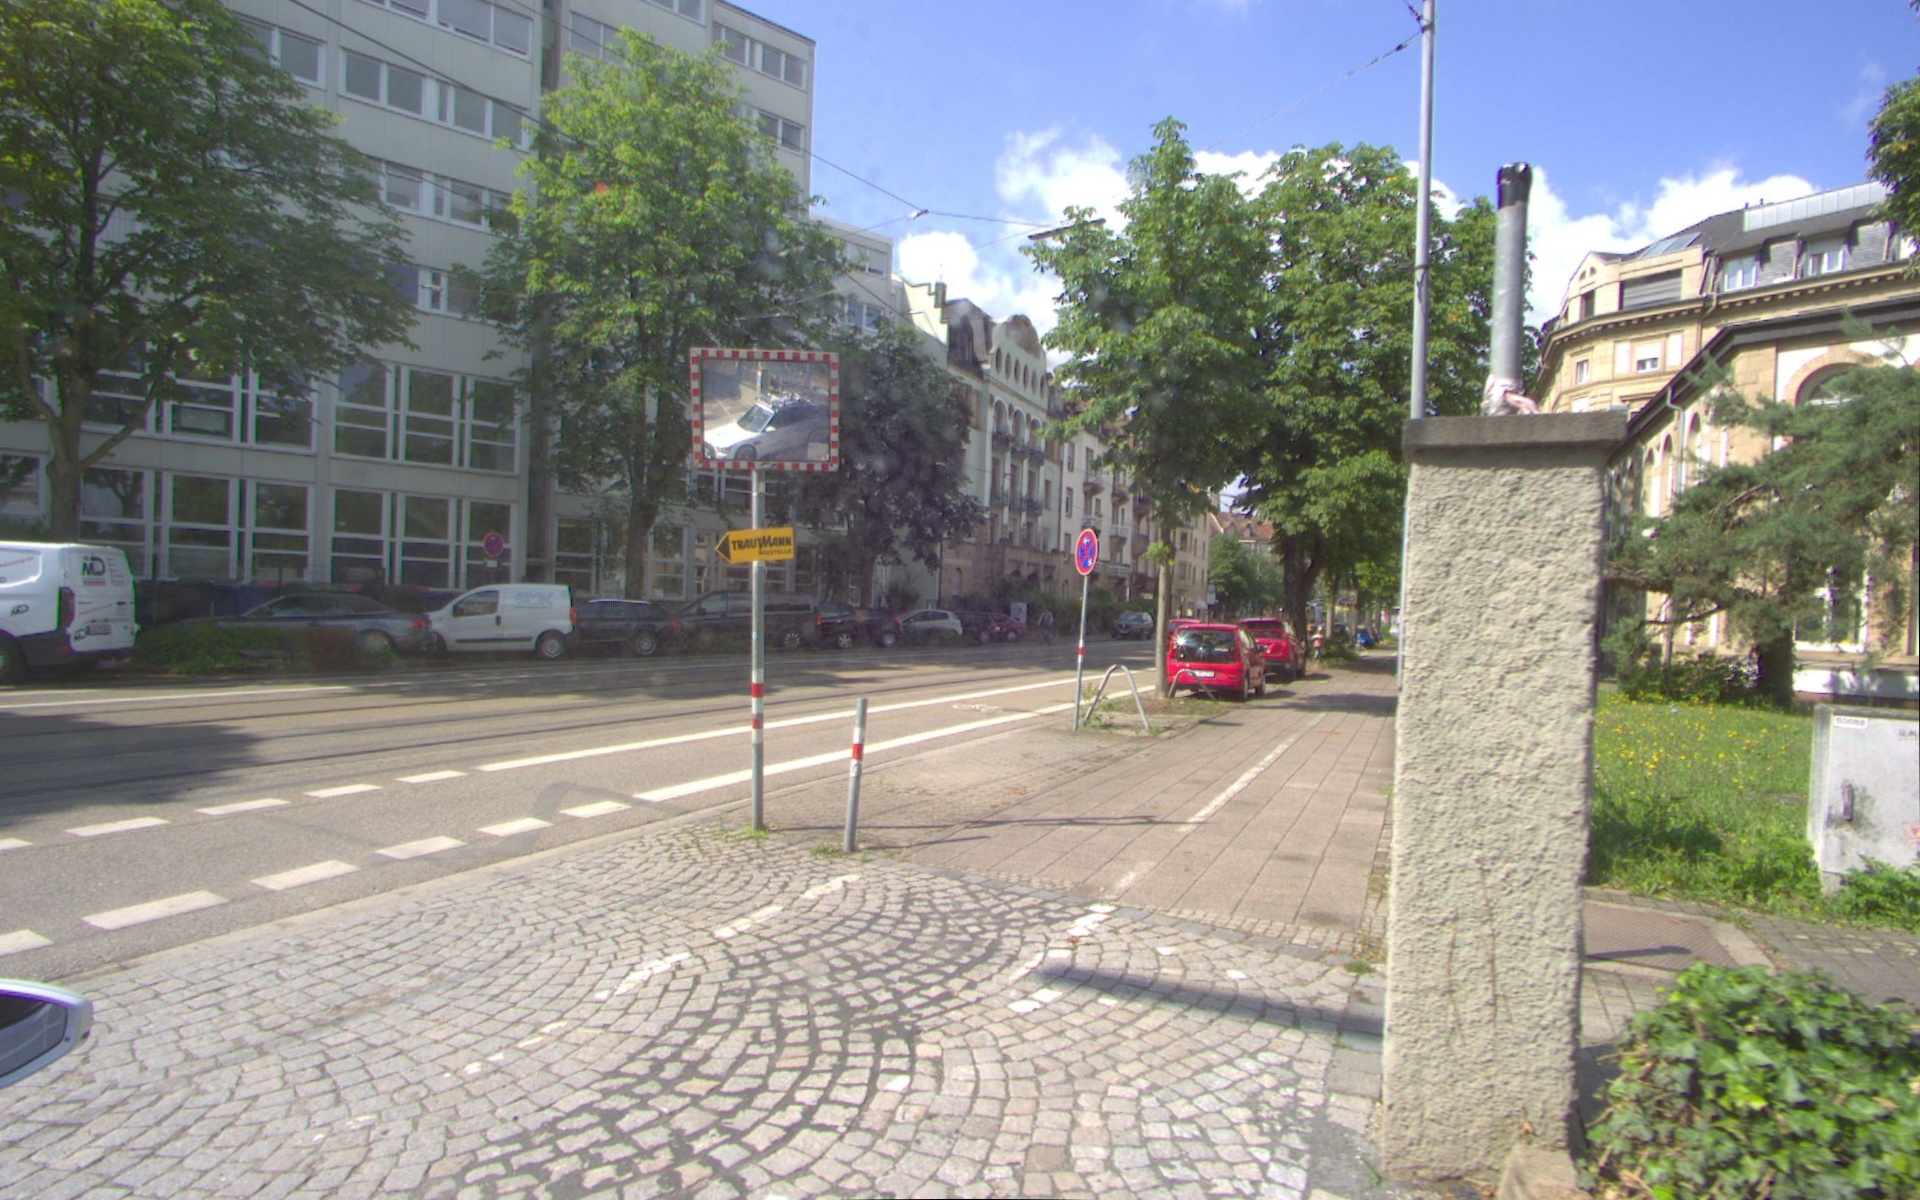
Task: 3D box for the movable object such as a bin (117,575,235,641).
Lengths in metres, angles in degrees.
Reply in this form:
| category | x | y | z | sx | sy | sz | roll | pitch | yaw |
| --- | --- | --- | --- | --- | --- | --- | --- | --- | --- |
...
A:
| category | x | y | z | sx | sy | sz | roll | pitch | yaw |
| --- | --- | --- | --- | --- | --- | --- | --- | --- | --- |
| movable object such as a bin | -17.092 | 0.208 | 21.864 | 1.367 | 1.381 | 1.536 | -1 | -2 | 21 |

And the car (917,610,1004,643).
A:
| category | x | y | z | sx | sy | sz | roll | pitch | yaw |
| --- | --- | --- | --- | --- | --- | --- | --- | --- | --- |
| car | 0.008 | 1.231 | 46.451 | 3.738 | 1.503 | 1.696 | 1 | -1 | -14 |

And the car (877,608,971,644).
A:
| category | x | y | z | sx | sy | sz | roll | pitch | yaw |
| --- | --- | --- | --- | --- | --- | --- | --- | --- | --- |
| car | -1.570 | 1.127 | 43.518 | 3.743 | 1.503 | 1.694 | 1 | -1 | -20 |

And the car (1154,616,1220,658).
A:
| category | x | y | z | sx | sy | sz | roll | pitch | yaw |
| --- | --- | --- | --- | --- | --- | --- | --- | --- | --- |
| car | 9.283 | 1.464 | 40.751 | 1.760 | 1.512 | 4.871 | 2 | 0 | 23 |

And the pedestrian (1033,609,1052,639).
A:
| category | x | y | z | sx | sy | sz | roll | pitch | yaw |
| --- | --- | --- | --- | --- | --- | --- | --- | --- | --- |
| pedestrian | 4.483 | 1.295 | 54.380 | 0.671 | 1.589 | 0.879 | 5 | 1 | 27 |

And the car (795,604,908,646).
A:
| category | x | y | z | sx | sy | sz | roll | pitch | yaw |
| --- | --- | --- | --- | --- | --- | --- | --- | --- | --- |
| car | -4.060 | 0.947 | 37.269 | 3.930 | 1.503 | 1.738 | 1 | -1 | -17 |

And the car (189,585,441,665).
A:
| category | x | y | z | sx | sy | sz | roll | pitch | yaw |
| --- | --- | --- | --- | --- | --- | --- | --- | --- | --- |
| car | -12.424 | 0.495 | 19.609 | 3.939 | 1.436 | 1.715 | 1 | -1 | -26 |

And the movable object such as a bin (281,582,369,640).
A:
| category | x | y | z | sx | sy | sz | roll | pitch | yaw |
| --- | --- | --- | --- | --- | --- | --- | --- | --- | --- |
| movable object such as a bin | -15.784 | 0.303 | 24.906 | 1.176 | 1.398 | 1.438 | -1 | -2 | 22 |

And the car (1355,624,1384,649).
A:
| category | x | y | z | sx | sy | sz | roll | pitch | yaw |
| --- | --- | --- | --- | --- | --- | --- | --- | --- | --- |
| car | 26.491 | 2.344 | 64.686 | 1.617 | 1.515 | 3.617 | 1 | -1 | 24 |

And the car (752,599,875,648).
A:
| category | x | y | z | sx | sy | sz | roll | pitch | yaw |
| --- | --- | --- | --- | --- | --- | --- | --- | --- | --- |
| car | -5.057 | 0.834 | 34.452 | 3.931 | 1.613 | 1.737 | 1 | -1 | -19 |

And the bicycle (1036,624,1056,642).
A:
| category | x | y | z | sx | sy | sz | roll | pitch | yaw |
| --- | --- | --- | --- | --- | --- | --- | --- | --- | --- |
| bicycle | 4.876 | 1.838 | 56.680 | 0.378 | 0.972 | 1.803 | 4 | 1 | 27 |

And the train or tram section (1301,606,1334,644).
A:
| category | x | y | z | sx | sy | sz | roll | pitch | yaw |
| --- | --- | --- | --- | --- | --- | --- | --- | --- | --- |
| train or tram section | 36.303 | 2.556 | 101.527 | 2.615 | 3.573 | 8.478 | 2 | -1 | 22 |

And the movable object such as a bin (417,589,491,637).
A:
| category | x | y | z | sx | sy | sz | roll | pitch | yaw |
| --- | --- | --- | --- | --- | --- | --- | --- | --- | --- |
| movable object such as a bin | -14.083 | 0.392 | 27.908 | 1.152 | 1.299 | 1.438 | -1 | -2 | 24 |

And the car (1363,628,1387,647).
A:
| category | x | y | z | sx | sy | sz | roll | pitch | yaw |
| --- | --- | --- | --- | --- | --- | --- | --- | --- | --- |
| car | 33.555 | 3.008 | 80.978 | 1.602 | 1.515 | 3.836 | 0 | -1 | 25 |

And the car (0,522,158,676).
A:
| category | x | y | z | sx | sy | sz | roll | pitch | yaw |
| --- | --- | --- | --- | --- | --- | --- | --- | --- | --- |
| car | -14.332 | -0.078 | 13.834 | 4.604 | 2.023 | 1.965 | 2 | 0 | -16 |

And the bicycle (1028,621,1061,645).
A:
| category | x | y | z | sx | sy | sz | roll | pitch | yaw |
| --- | --- | --- | --- | --- | --- | --- | --- | --- | --- |
| bicycle | 3.968 | 1.553 | 46.783 | 0.648 | 1.054 | 1.991 | 2 | -1 | 33 |

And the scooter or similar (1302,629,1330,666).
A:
| category | x | y | z | sx | sy | sz | roll | pitch | yaw |
| --- | --- | --- | --- | --- | --- | --- | --- | --- | --- |
| scooter or similar | 12.375 | 1.638 | 34.769 | 1.246 | 1.253 | 0.339 | 1 | -2 | -41 |

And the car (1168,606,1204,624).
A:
| category | x | y | z | sx | sy | sz | roll | pitch | yaw |
| --- | --- | --- | --- | --- | --- | --- | --- | --- | --- |
| car | 22.949 | 1.550 | 101.589 | 3.196 | 1.533 | 1.672 | 4 | 0 | 29 |

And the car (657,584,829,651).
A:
| category | x | y | z | sx | sy | sz | roll | pitch | yaw |
| --- | --- | --- | --- | --- | --- | --- | --- | --- | --- |
| car | -6.824 | 0.583 | 31.485 | 5.081 | 1.979 | 1.912 | 1 | -1 | -21 |

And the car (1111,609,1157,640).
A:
| category | x | y | z | sx | sy | sz | roll | pitch | yaw |
| --- | --- | --- | --- | --- | --- | --- | --- | --- | --- |
| car | 10.946 | 1.537 | 62.664 | 1.760 | 1.786 | 4.871 | 2 | 0 | 23 |

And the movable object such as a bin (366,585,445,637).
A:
| category | x | y | z | sx | sy | sz | roll | pitch | yaw |
| --- | --- | --- | --- | --- | --- | --- | --- | --- | --- |
| movable object such as a bin | -14.684 | 0.318 | 26.569 | 1.148 | 1.344 | 1.438 | -1 | -2 | 24 |

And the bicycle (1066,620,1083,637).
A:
| category | x | y | z | sx | sy | sz | roll | pitch | yaw |
| --- | --- | --- | --- | --- | --- | --- | --- | --- | --- |
| bicycle | 6.974 | 1.718 | 60.792 | 0.378 | 0.972 | 1.803 | 4 | 1 | 27 |

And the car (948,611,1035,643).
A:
| category | x | y | z | sx | sy | sz | roll | pitch | yaw |
| --- | --- | --- | --- | --- | --- | --- | --- | --- | --- |
| car | 1.553 | 1.325 | 49.236 | 3.901 | 1.503 | 1.843 | 1 | -1 | -18 |

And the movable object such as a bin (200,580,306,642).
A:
| category | x | y | z | sx | sy | sz | roll | pitch | yaw |
| --- | --- | --- | --- | --- | --- | --- | --- | --- | --- |
| movable object such as a bin | -16.498 | 0.285 | 23.410 | 1.367 | 1.381 | 1.536 | -1 | -2 | 21 |

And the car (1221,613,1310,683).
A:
| category | x | y | z | sx | sy | sz | roll | pitch | yaw |
| --- | --- | --- | --- | --- | --- | --- | --- | --- | --- |
| car | 8.294 | 1.245 | 26.953 | 1.850 | 1.698 | 4.271 | 1 | -1 | 23 |

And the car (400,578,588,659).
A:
| category | x | y | z | sx | sy | sz | roll | pitch | yaw |
| --- | --- | --- | --- | --- | --- | --- | --- | --- | --- |
| car | -10.443 | 0.446 | 22.713 | 3.651 | 1.715 | 1.757 | 1 | -1 | -18 |

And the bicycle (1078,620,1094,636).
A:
| category | x | y | z | sx | sy | sz | roll | pitch | yaw |
| --- | --- | --- | --- | --- | --- | --- | --- | --- | --- |
| bicycle | 7.876 | 1.753 | 62.672 | 0.378 | 0.972 | 1.803 | 4 | 1 | 27 |

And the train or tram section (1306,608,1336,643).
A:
| category | x | y | z | sx | sy | sz | roll | pitch | yaw |
| --- | --- | --- | --- | --- | --- | --- | --- | --- | --- |
| train or tram section | 39.470 | 2.811 | 109.373 | 2.615 | 3.573 | 8.478 | 2 | -1 | 22 |

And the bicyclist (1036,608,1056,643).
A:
| category | x | y | z | sx | sy | sz | roll | pitch | yaw |
| --- | --- | --- | --- | --- | --- | --- | --- | --- | --- |
| bicyclist | 4.023 | 1.194 | 46.807 | 0.634 | 1.597 | 0.738 | 2 | 0 | 32 |

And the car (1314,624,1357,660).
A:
| category | x | y | z | sx | sy | sz | roll | pitch | yaw |
| --- | --- | --- | --- | --- | --- | --- | --- | --- | --- |
| car | 18.093 | 2.016 | 48.137 | 1.674 | 1.611 | 4.192 | 1 | -1 | 24 |

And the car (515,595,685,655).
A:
| category | x | y | z | sx | sy | sz | roll | pitch | yaw |
| --- | --- | --- | --- | --- | --- | --- | --- | --- | --- |
| car | -9.129 | 0.645 | 25.559 | 3.933 | 1.436 | 1.756 | 1 | -1 | -21 |

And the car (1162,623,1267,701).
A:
| category | x | y | z | sx | sy | sz | roll | pitch | yaw |
| --- | --- | --- | --- | --- | --- | --- | --- | --- | --- |
| car | 5.310 | 1.228 | 20.603 | 1.579 | 1.447 | 3.588 | -1 | -2 | 23 |
